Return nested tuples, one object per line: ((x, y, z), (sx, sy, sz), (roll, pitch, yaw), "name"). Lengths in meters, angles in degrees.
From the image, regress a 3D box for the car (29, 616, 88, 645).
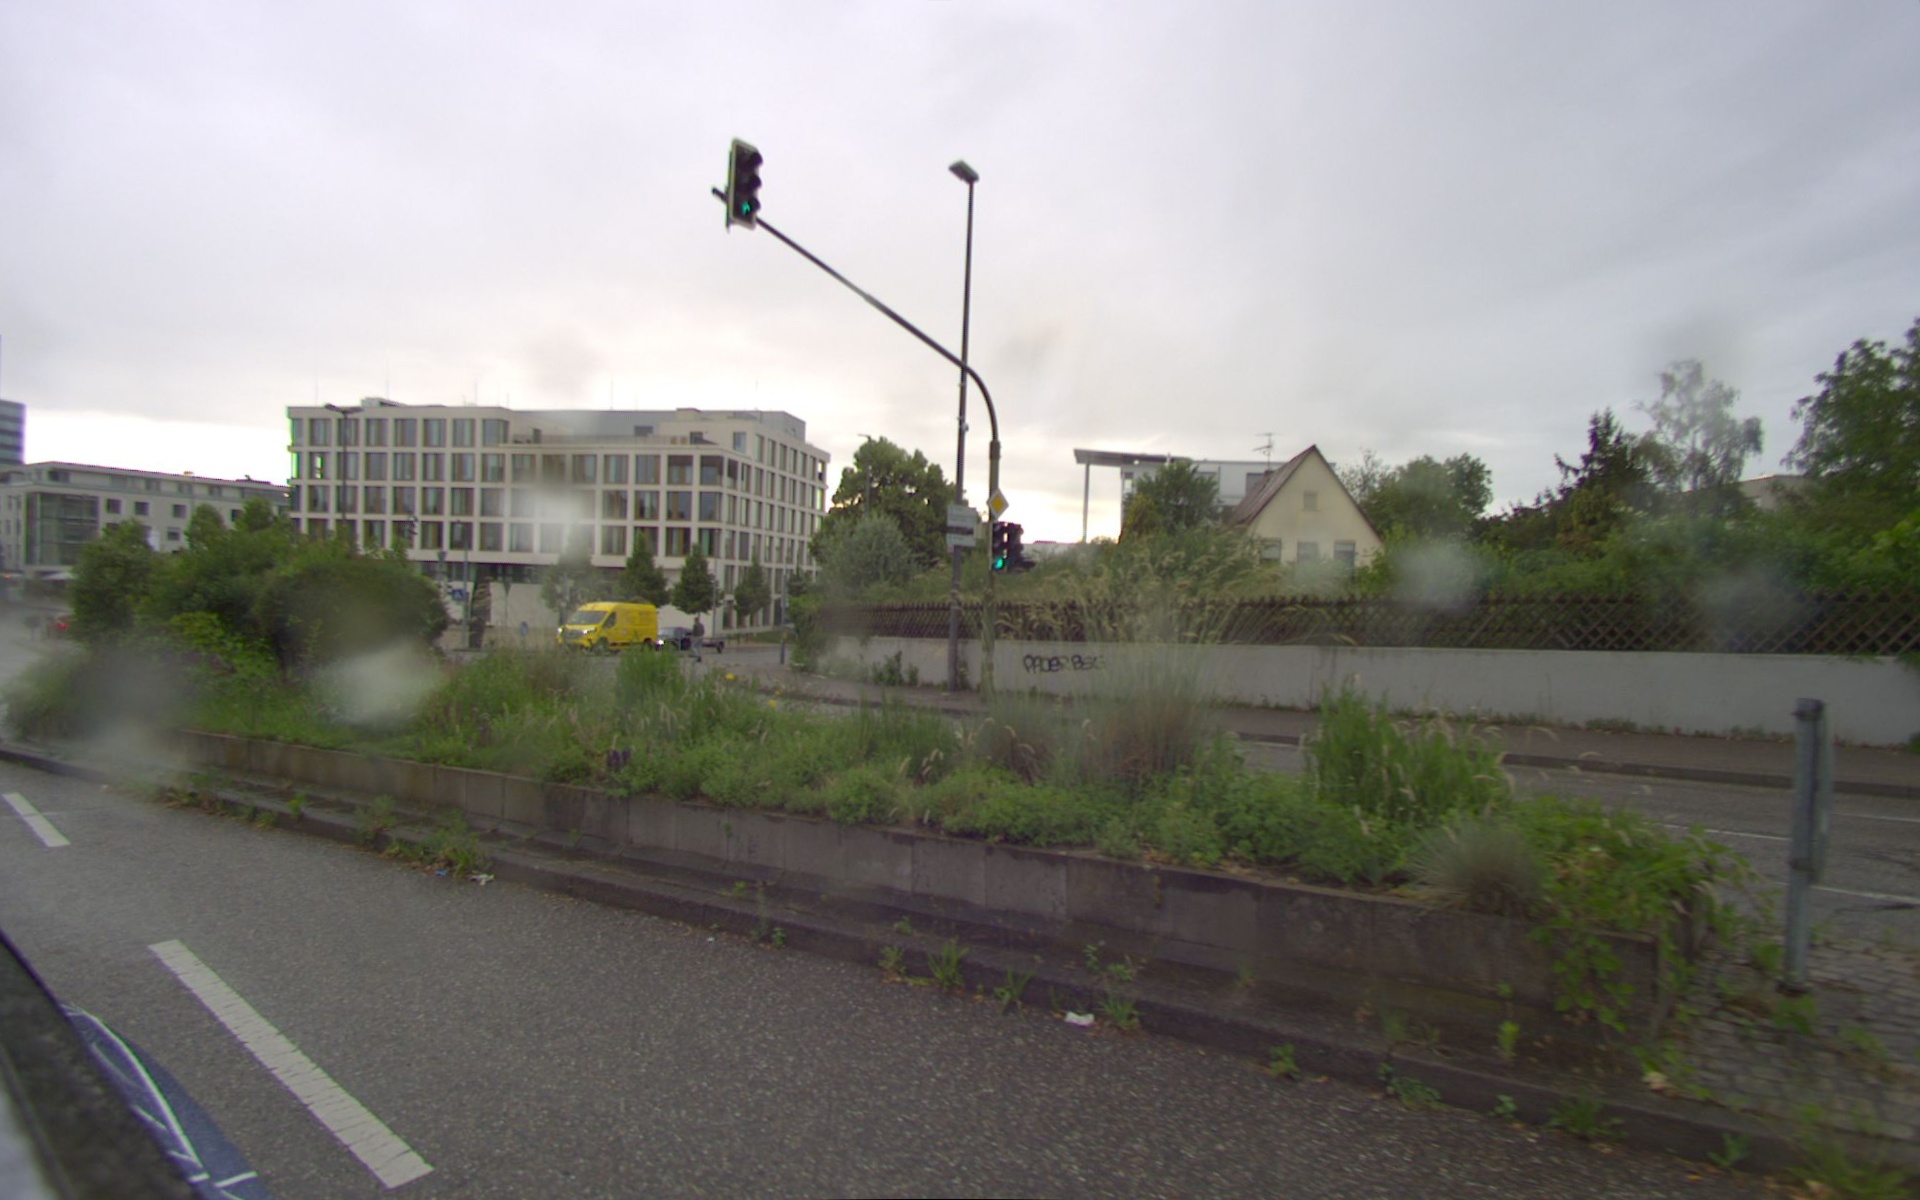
((-48.372, 1.602, 54.278), (4.431, 1.424, 1.972), (0, -1, 43), "car")

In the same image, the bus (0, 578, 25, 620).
((-99.300, -0.191, 100.883), (18.139, 4.025, 2.926), (1, -2, 27), "bus")

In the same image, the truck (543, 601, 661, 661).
((-16.569, 1.493, 47.332), (2.206, 2.557, 6.149), (1, -2, 13), "truck")

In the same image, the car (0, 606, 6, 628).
((-70.469, 1.221, 73.210), (4.075, 1.564, 1.882), (0, -2, 43), "car")

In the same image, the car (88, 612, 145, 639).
((-49.991, 1.509, 59.931), (4.294, 1.489, 1.929), (0, -3, 42), "car")

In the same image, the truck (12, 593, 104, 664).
((-33.933, 0.992, 38.010), (6.202, 2.458, 2.139), (0, 0, 44), "truck")

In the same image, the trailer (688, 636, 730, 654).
((-14.657, 2.643, 59.229), (1.591, 0.986, 2.278), (1, -2, 11), "trailer")
